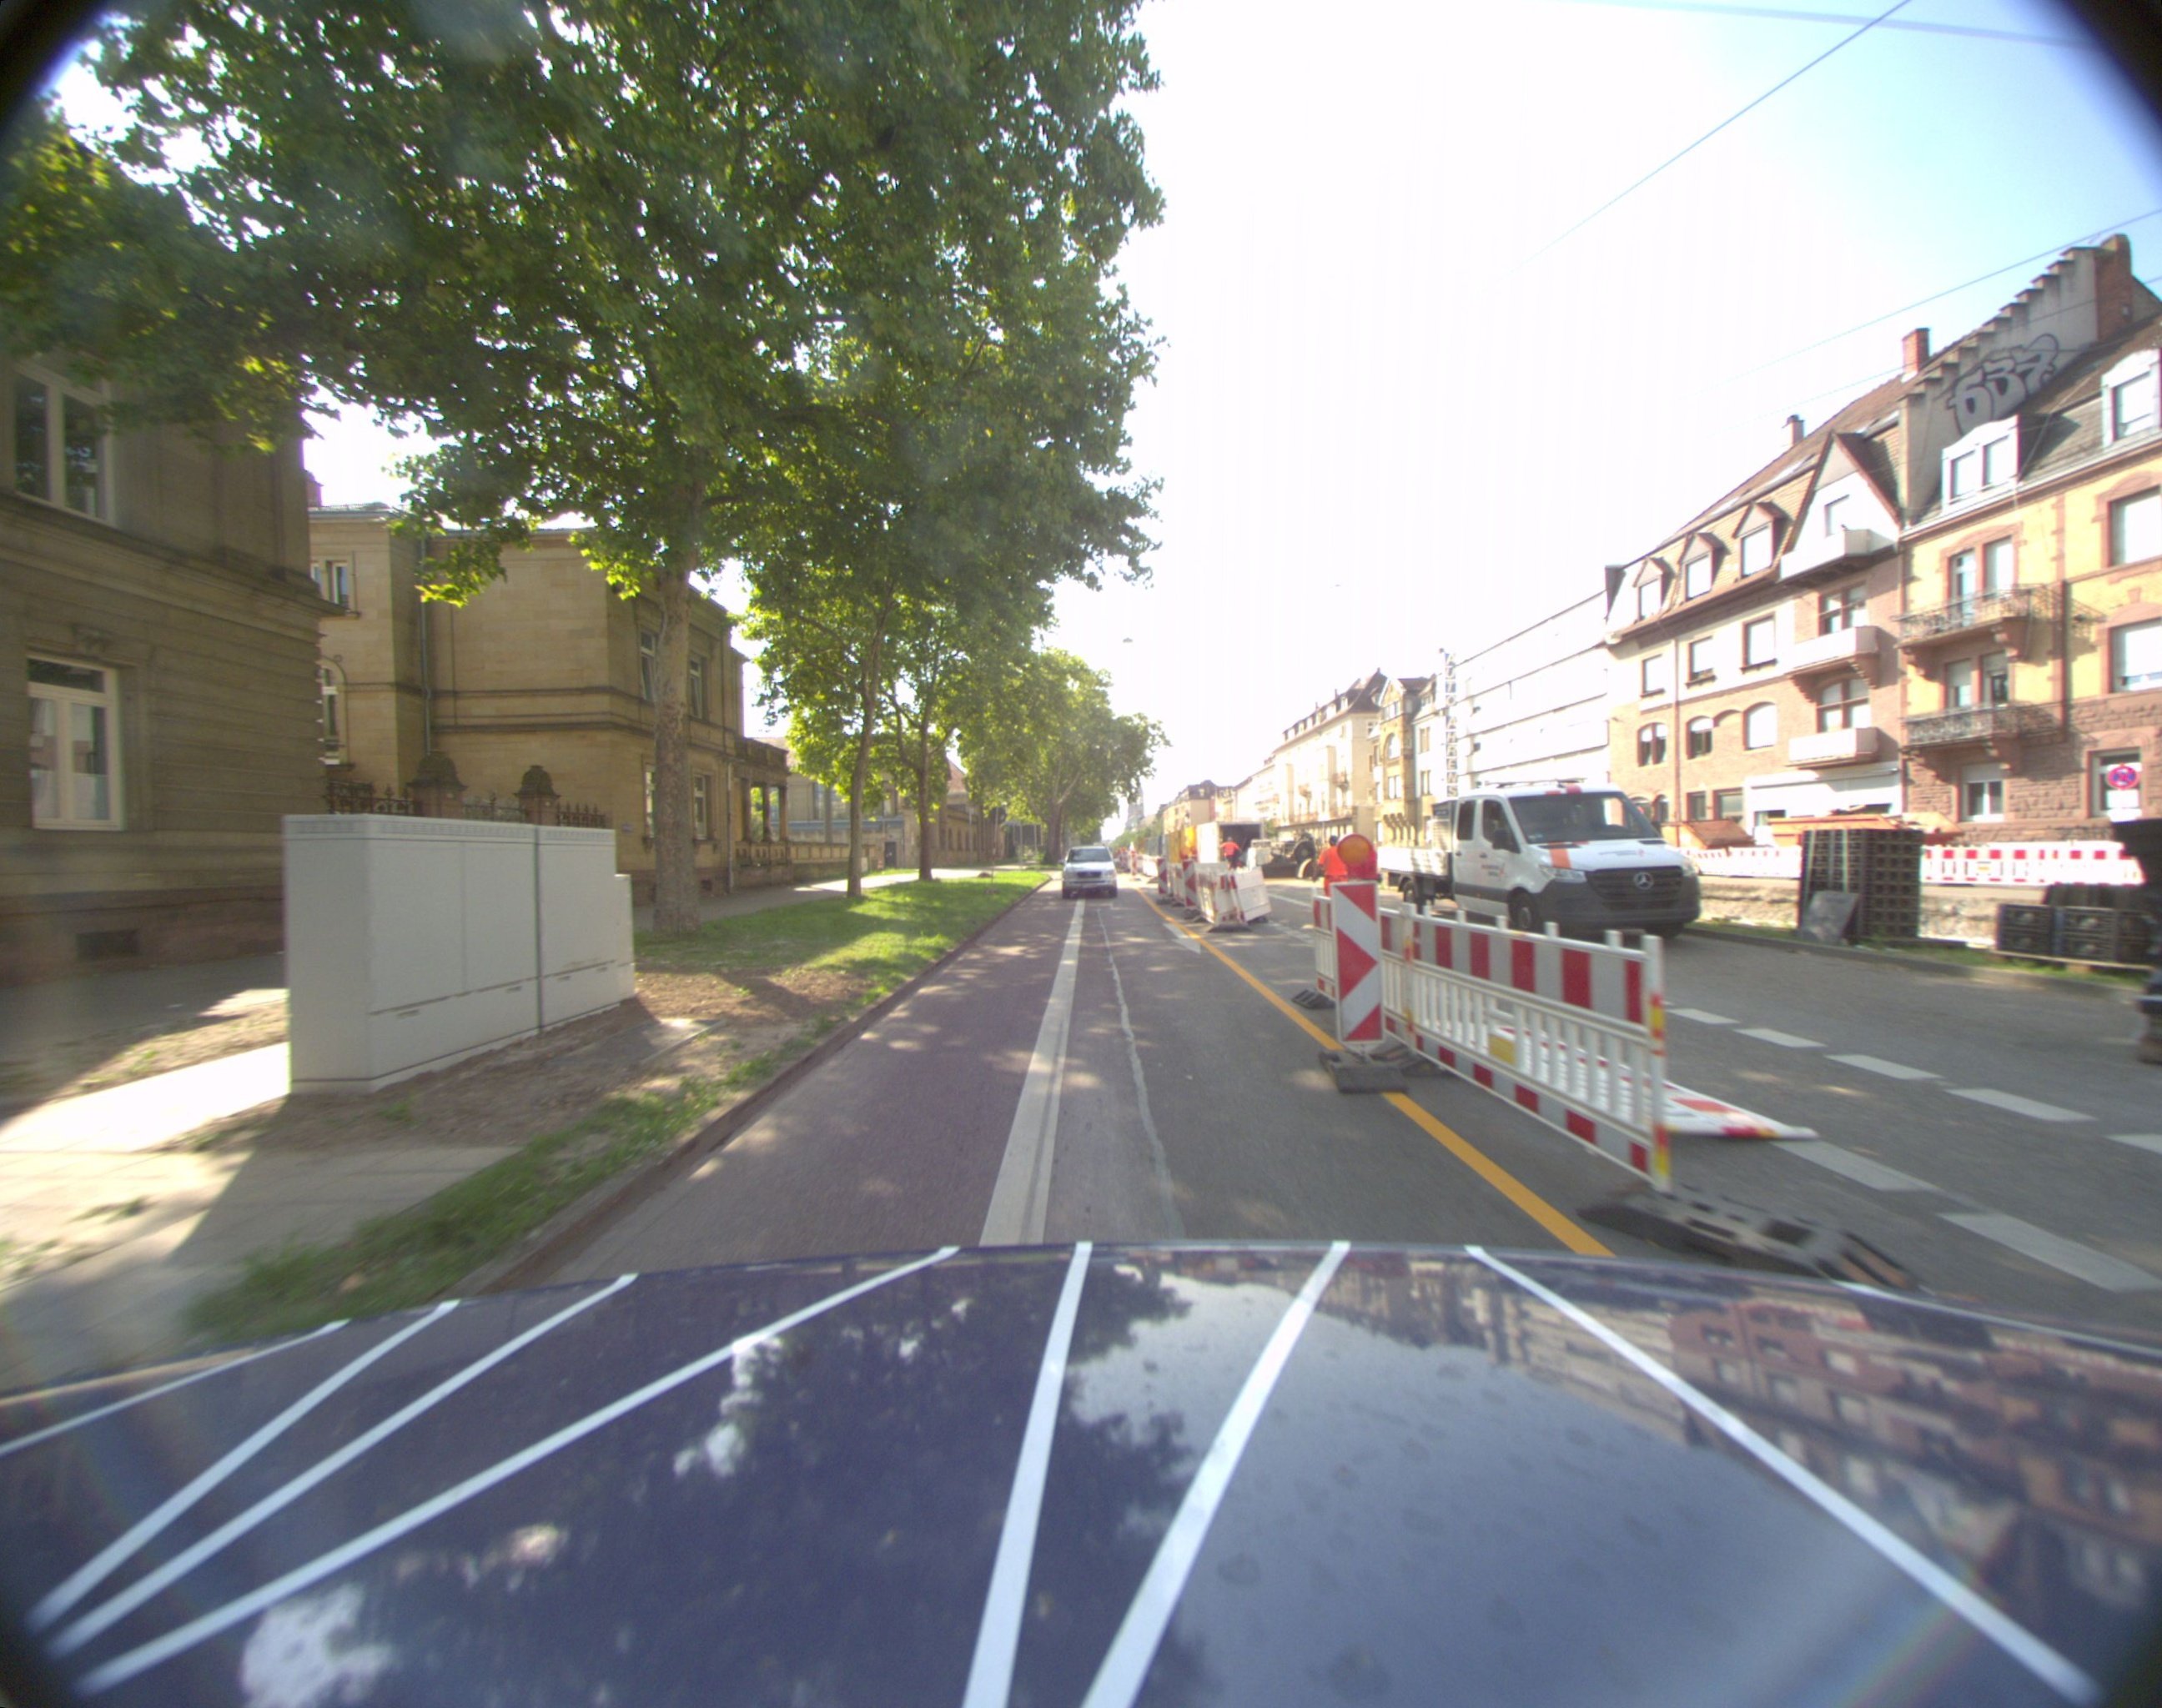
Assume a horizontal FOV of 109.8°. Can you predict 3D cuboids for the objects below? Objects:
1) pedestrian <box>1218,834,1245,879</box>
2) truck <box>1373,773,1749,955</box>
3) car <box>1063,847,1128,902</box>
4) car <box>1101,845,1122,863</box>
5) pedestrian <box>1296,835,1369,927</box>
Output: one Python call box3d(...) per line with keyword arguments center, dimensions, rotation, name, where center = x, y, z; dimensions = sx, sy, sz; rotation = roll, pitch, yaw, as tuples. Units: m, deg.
box3d(center=(7.039, 0.113, 35.488), dimensions=(0.909, 2.002, 0.913), rotation=(-2, 2, 27), name="pedestrian")
box3d(center=(7.201, 0.094, 12.803), dimensions=(2.163, 2.209, 7.051), rotation=(-1, 1, 3), name="truck")
box3d(center=(0.473, 0.605, 26.064), dimensions=(1.998, 1.686, 5.225), rotation=(-1, 1, 1), name="car")
box3d(center=(2.992, -0.004, 75.836), dimensions=(1.998, 1.686, 5.226), rotation=(-1, 0, 2), name="car")
box3d(center=(4.837, 0.500, 14.664), dimensions=(1.034, 1.700, 1.095), rotation=(-1, 1, -1), name="pedestrian")
